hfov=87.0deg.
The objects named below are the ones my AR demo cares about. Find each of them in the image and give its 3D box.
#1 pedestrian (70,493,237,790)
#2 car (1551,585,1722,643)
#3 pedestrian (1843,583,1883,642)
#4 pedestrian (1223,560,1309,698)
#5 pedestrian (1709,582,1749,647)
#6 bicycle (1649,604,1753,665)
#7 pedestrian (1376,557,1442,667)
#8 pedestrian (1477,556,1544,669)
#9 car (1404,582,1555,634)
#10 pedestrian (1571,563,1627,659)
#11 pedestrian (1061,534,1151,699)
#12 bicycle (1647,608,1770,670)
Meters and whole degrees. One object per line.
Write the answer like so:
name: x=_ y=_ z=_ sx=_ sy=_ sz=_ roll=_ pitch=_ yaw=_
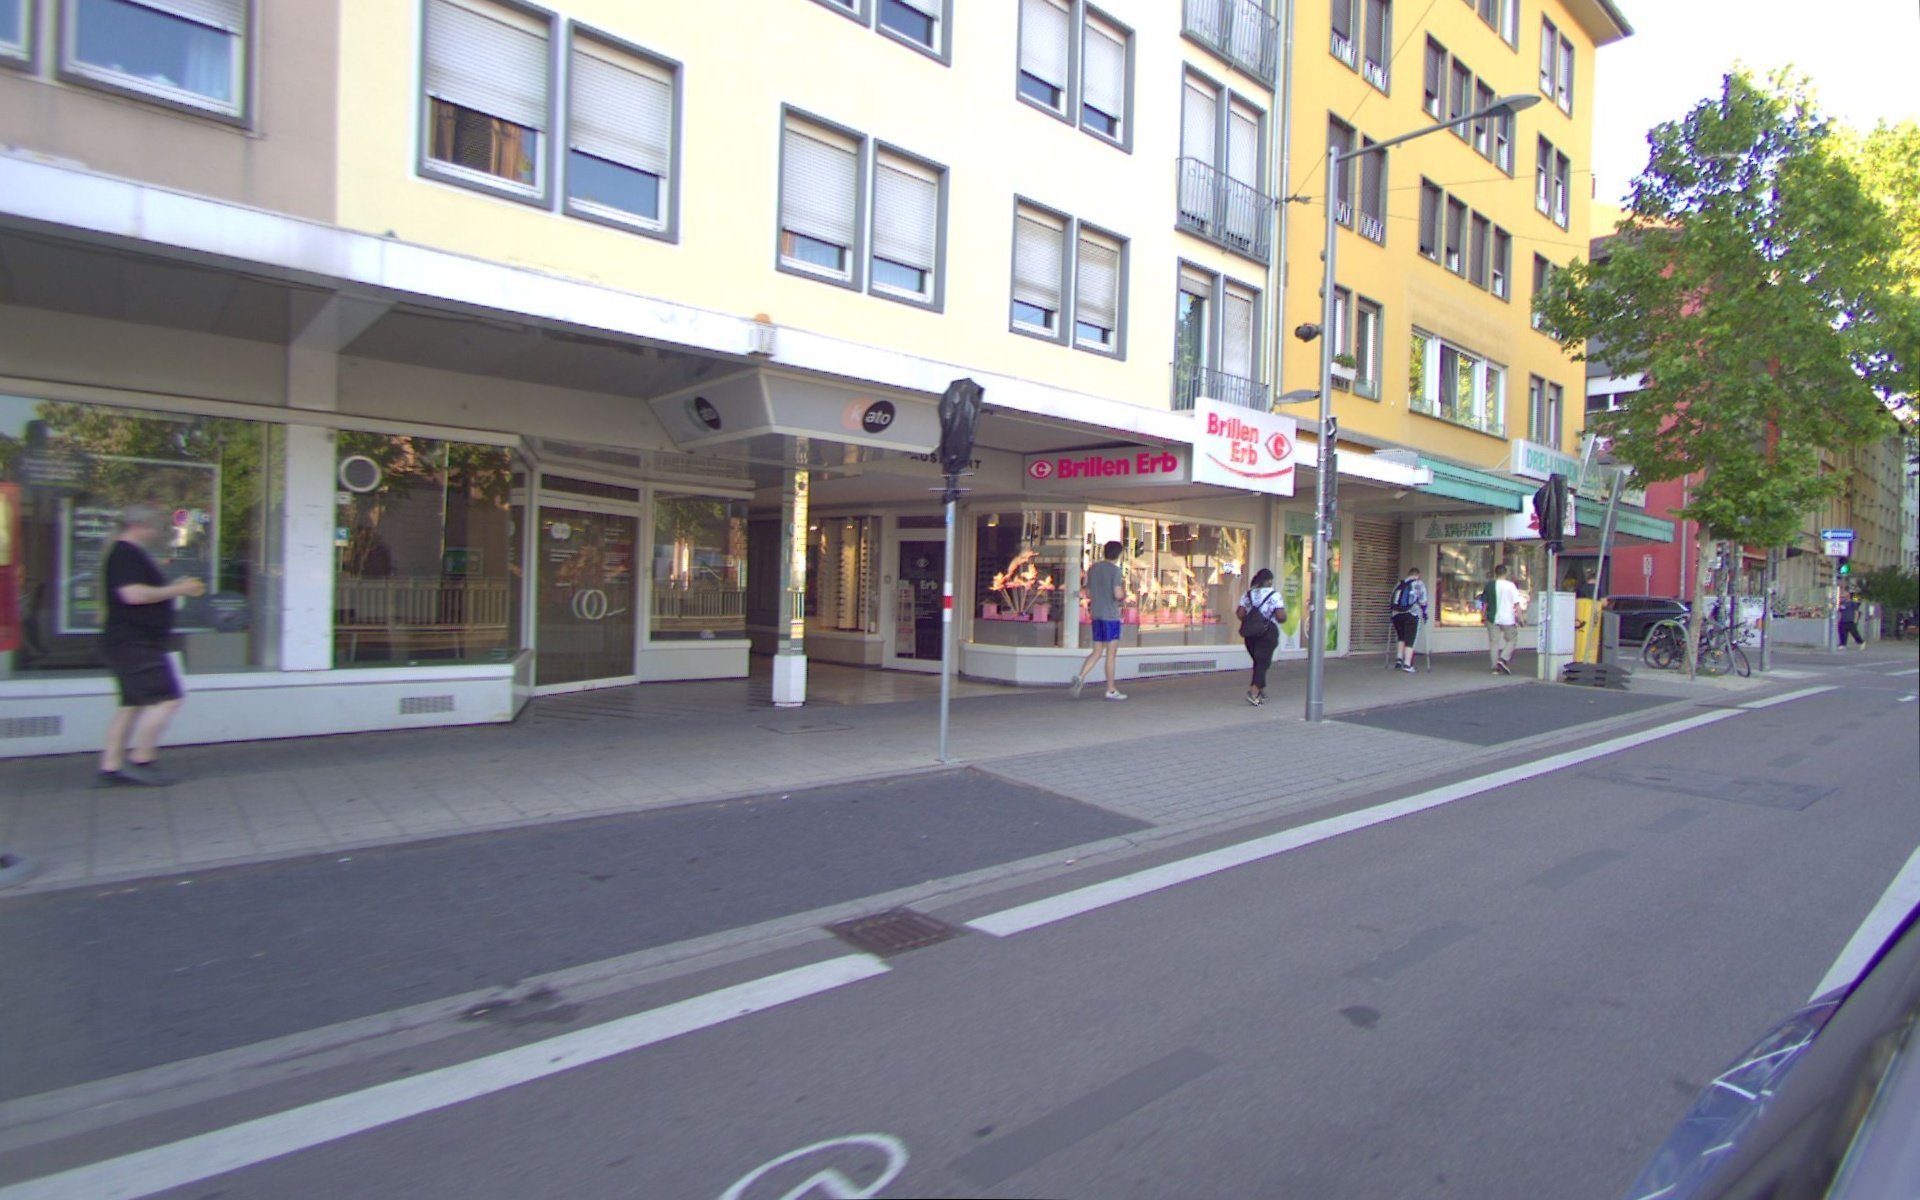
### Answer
pedestrian: x=-4.900 y=0.219 z=6.157 sx=0.753 sy=1.653 sz=0.725 roll=0 pitch=1 yaw=-41
car: x=22.048 y=0.413 z=33.129 sx=1.741 sy=1.708 sz=4.349 roll=1 pitch=1 yaw=-40
pedestrian: x=27.595 y=0.365 z=30.934 sx=0.801 sy=1.731 sz=0.728 roll=0 pitch=3 yaw=-40
pedestrian: x=3.697 y=0.327 z=12.228 sx=0.835 sy=1.598 sz=0.612 roll=0 pitch=1 yaw=-38
pedestrian: x=21.995 y=0.396 z=28.950 sx=0.879 sy=1.801 sz=0.745 roll=-2 pitch=2 yaw=-41
bicycle: x=13.948 y=0.629 z=19.084 sx=0.446 sy=1.020 sz=1.485 roll=0 pitch=3 yaw=-43
pedestrian: x=7.367 y=0.183 z=16.599 sx=0.753 sy=1.745 sz=0.725 roll=0 pitch=1 yaw=-41
pedestrian: x=9.031 y=0.190 z=16.617 sx=0.753 sy=1.801 sz=0.725 roll=0 pitch=1 yaw=-41
car: x=18.946 y=0.248 z=37.058 sx=1.741 sy=1.762 sz=4.611 roll=1 pitch=1 yaw=-40
pedestrian: x=12.484 y=0.191 z=19.770 sx=0.753 sy=1.829 sz=0.725 roll=0 pitch=1 yaw=-41
pedestrian: x=1.724 y=0.177 z=11.952 sx=0.753 sy=1.863 sz=0.725 roll=0 pitch=1 yaw=-41
bicycle: x=14.345 y=0.719 z=19.437 sx=0.532 sy=1.020 sz=1.801 roll=0 pitch=3 yaw=-43
